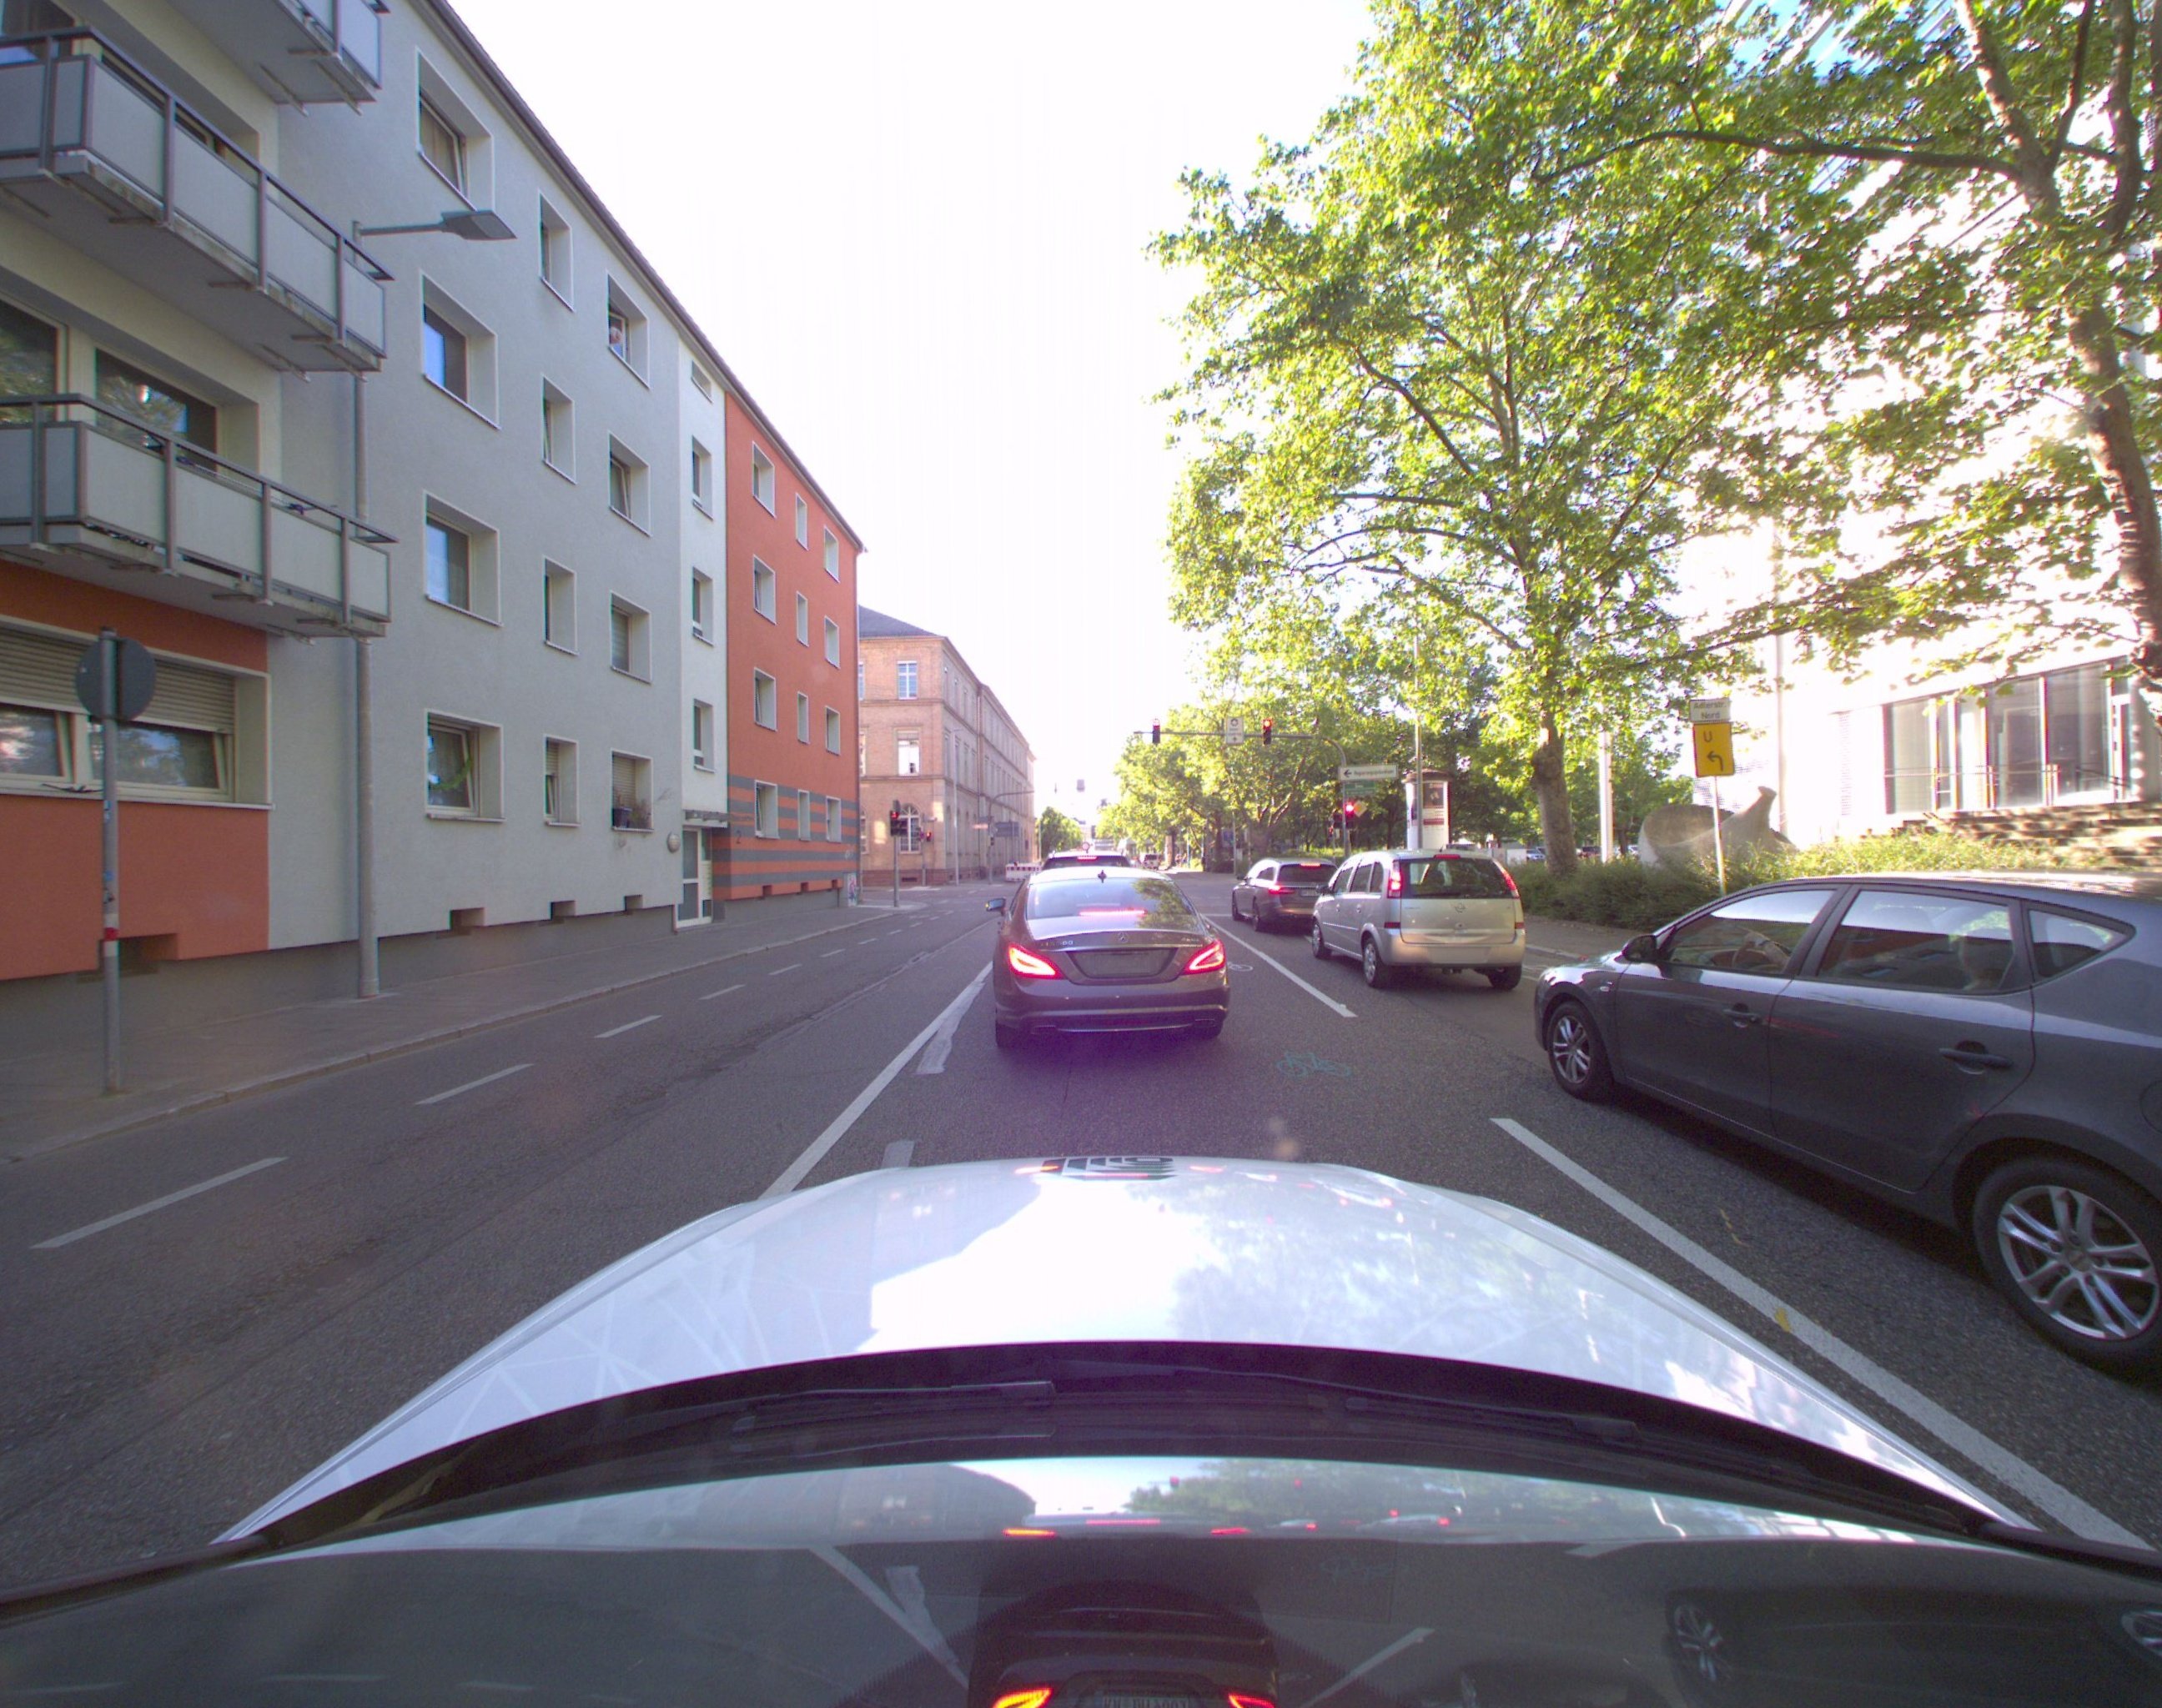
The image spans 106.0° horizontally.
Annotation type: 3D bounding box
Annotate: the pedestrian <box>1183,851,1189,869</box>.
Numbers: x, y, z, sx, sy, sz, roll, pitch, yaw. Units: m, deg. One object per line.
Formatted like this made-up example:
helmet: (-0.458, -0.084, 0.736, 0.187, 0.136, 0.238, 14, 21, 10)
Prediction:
pedestrian: (11.056, 0.625, 85.931, 0.601, 1.821, 0.652, -1, 0, 1)

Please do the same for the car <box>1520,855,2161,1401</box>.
car: (3.810, 0.756, 3.659, 1.638, 1.482, 3.978, 1, 0, 2)

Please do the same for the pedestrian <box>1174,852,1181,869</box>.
pedestrian: (10.203, 0.660, 86.058, 0.601, 1.821, 0.652, -1, 0, 1)

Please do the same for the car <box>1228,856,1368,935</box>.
car: (4.468, 0.783, 17.491, 1.905, 1.464, 4.671, 0, 0, 2)

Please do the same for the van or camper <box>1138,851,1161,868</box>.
van or camper: (7.996, 0.633, 95.475, 1.989, 1.941, 4.589, -1, 0, -3)

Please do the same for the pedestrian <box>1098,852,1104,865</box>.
pedestrian: (2.972, 0.672, 120.576, 0.722, 2.014, 0.748, -1, 0, -2)

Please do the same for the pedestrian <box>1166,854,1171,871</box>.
pedestrian: (10.538, 1.022, 98.478, 0.537, 2.014, 0.474, 0, -1, 1)

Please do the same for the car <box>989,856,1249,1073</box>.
car: (0.082, 0.753, 7.785, 1.801, 1.456, 4.342, -1, 0, -5)

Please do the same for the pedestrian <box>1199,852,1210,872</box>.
pedestrian: (10.253, 0.672, 67.867, 0.827, 1.606, 0.652, -1, 0, 1)

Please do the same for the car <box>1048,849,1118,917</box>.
car: (0.126, 0.767, 23.379, 1.813, 1.762, 4.002, -1, 0, 2)

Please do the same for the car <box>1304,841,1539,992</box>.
car: (4.194, 0.666, 10.706, 1.694, 1.603, 3.863, 1, 0, 4)

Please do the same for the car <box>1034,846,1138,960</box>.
car: (0.068, 0.710, 13.824, 1.513, 1.647, 3.879, -1, 0, 0)
